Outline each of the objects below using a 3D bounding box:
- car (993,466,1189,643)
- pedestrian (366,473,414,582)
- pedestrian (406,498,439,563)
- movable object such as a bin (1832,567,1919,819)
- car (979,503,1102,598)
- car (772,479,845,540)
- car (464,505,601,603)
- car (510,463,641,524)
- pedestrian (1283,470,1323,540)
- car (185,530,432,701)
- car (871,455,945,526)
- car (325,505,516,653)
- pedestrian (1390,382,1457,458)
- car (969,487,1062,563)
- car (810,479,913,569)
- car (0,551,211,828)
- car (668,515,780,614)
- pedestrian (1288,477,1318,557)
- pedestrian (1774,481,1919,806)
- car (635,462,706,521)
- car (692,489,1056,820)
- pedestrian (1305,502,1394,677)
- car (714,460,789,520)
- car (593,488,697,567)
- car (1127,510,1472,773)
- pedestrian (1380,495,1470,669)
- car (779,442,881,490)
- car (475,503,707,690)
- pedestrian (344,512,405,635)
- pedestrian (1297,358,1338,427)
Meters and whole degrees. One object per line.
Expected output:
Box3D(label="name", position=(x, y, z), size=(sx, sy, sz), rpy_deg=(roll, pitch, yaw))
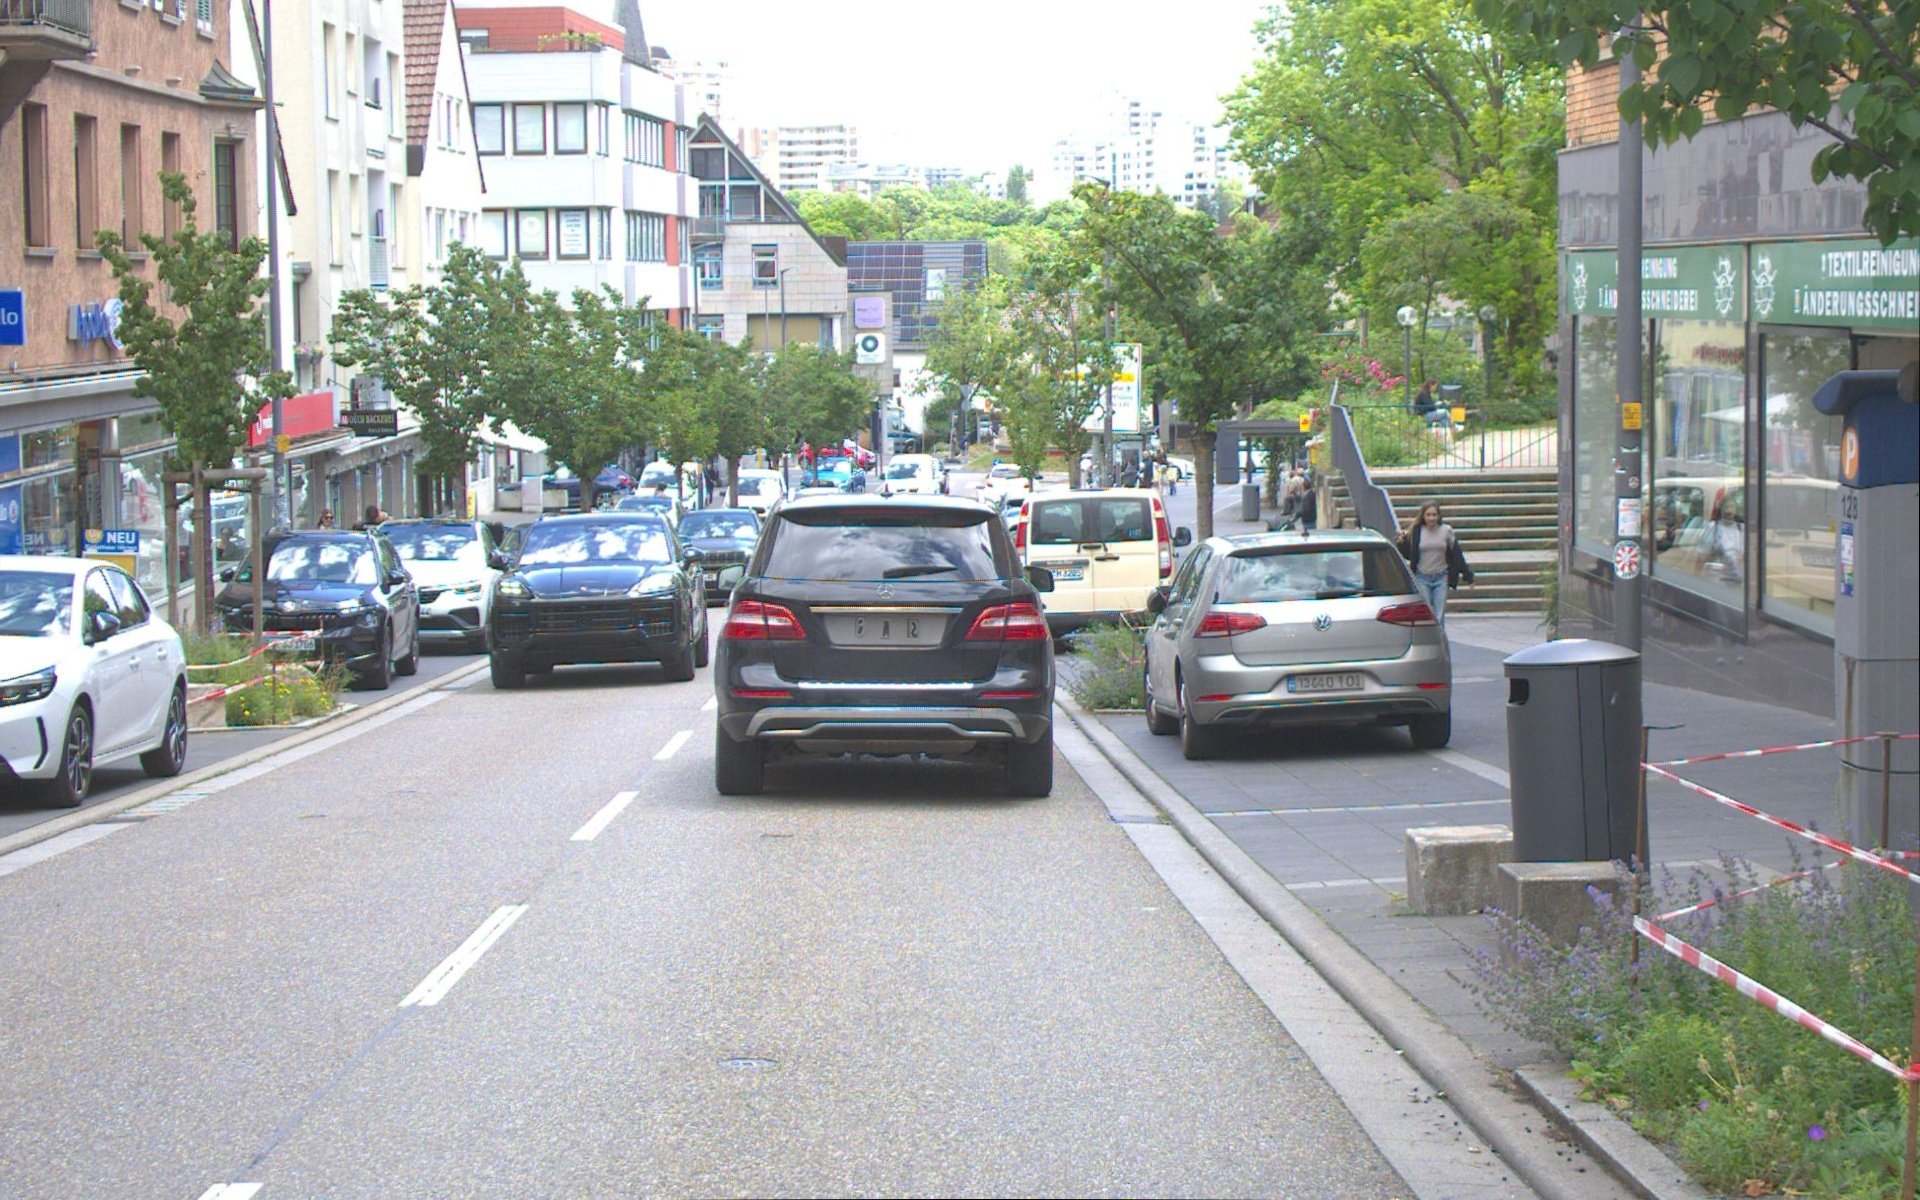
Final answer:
Box3D(label="car", position=(1.498, -0.601, 40.912), size=(1.938, 1.885, 4.708), rpy_deg=(-3, 3, -1))
Box3D(label="pedestrian", position=(-8.800, -1.124, 53.109), size=(0.641, 1.662, 0.720), rpy_deg=(0, 2, -2))
Box3D(label="pedestrian", position=(-10.696, -1.383, 68.415), size=(0.565, 1.277, 0.759), rpy_deg=(0, 2, -2))
Box3D(label="movable object such as a bin", position=(4.748, 0.428, 16.698), size=(0.721, 1.154, 0.907), rpy_deg=(-3, 2, -2))
Box3D(label="car", position=(1.334, -0.884, 58.979), size=(1.938, 1.452, 4.707), rpy_deg=(-1, 3, 0))
Box3D(label="car", position=(-3.888, -2.356, 88.904), size=(1.812, 1.503, 4.001), rpy_deg=(-1, 2, -2))
Box3D(label="car", position=(-7.265, -0.819, 58.749), size=(1.926, 1.491, 4.263), rpy_deg=(2, 3, -2))
Box3D(label="car", position=(-12.254, -3.397, 109.767), size=(3.986, 1.744, 2.000), rpy_deg=(-3, 2, -4))
Box3D(label="pedestrian", position=(9.689, -2.690, 97.038), size=(1.050, 1.906, 0.937), rpy_deg=(-2, 2, 6))
Box3D(label="car", position=(-6.513, 0.106, 34.794), size=(1.926, 1.491, 4.263), rpy_deg=(-1, 2, -4))
Box3D(label="car", position=(-1.716, -3.670, 115.705), size=(2.174, 2.356, 4.622), rpy_deg=(0, 2, 3))
Box3D(label="car", position=(-6.549, -0.300, 42.137), size=(1.926, 1.590, 4.459), rpy_deg=(1, 3, -4))
Box3D(label="pedestrian", position=(7.687, -2.981, 57.053), size=(0.990, 1.227, 0.984), rpy_deg=(0, 2, 1))
Box3D(label="car", position=(1.190, -1.687, 75.754), size=(1.938, 1.539, 4.707), rpy_deg=(-1, 3, 0))
Box3D(label="car", position=(-1.909, -1.524, 67.625), size=(1.926, 1.623, 4.263), rpy_deg=(2, 2, -1))
Box3D(label="car", position=(-6.016, 0.463, 21.064), size=(1.926, 1.425, 4.262), rpy_deg=(0, 2, 0))
Box3D(label="car", position=(-3.996, -0.633, 58.705), size=(1.764, 1.611, 4.033), rpy_deg=(0, 2, -2))
Box3D(label="pedestrian", position=(6.912, -1.673, 69.265), size=(0.568, 1.580, 0.666), rpy_deg=(-1, 2, 8))
Box3D(label="pedestrian", position=(4.705, 0.199, 17.607), size=(0.735, 1.579, 1.000), rpy_deg=(-3, 2, -2))
Box3D(label="car", position=(-8.604, -3.253, 102.461), size=(1.926, 1.623, 4.415), rpy_deg=(2, 3, -3))
Box3D(label="car", position=(-0.492, 0.231, 20.669), size=(1.943, 1.734, 4.179), rpy_deg=(1, 2, -1))
Box3D(label="pedestrian", position=(3.723, -0.112, 32.892), size=(0.671, 1.627, 0.670), rpy_deg=(-3, 2, -3))
Box3D(label="car", position=(-6.020, -3.207, 99.513), size=(1.926, 1.623, 4.263), rpy_deg=(2, 2, -1))
Box3D(label="car", position=(-6.866, -1.610, 75.244), size=(1.926, 1.623, 4.263), rpy_deg=(0, 3, -1))
Box3D(label="car", position=(2.230, 0.208, 23.597), size=(1.748, 1.460, 4.075), rpy_deg=(-4, 3, -2))
Box3D(label="pedestrian", position=(4.470, -0.180, 33.093), size=(0.671, 1.627, 0.670), rpy_deg=(-3, 2, -3))
Box3D(label="car", position=(-5.732, -5.865, 151.032), size=(4.192, 2.022, 1.784), rpy_deg=(0, 2, 33))
Box3D(label="car", position=(-3.687, -0.096, 35.085), size=(1.992, 1.712, 4.448), rpy_deg=(-2, 2, -2))
Box3D(label="pedestrian", position=(-7.994, -0.373, 46.930), size=(0.727, 1.662, 0.720), rpy_deg=(0, 2, -2))
Box3D(label="pedestrian", position=(11.496, -6.657, 110.470), size=(1.012, 2.143, 1.067), rpy_deg=(-2, 2, 18))
